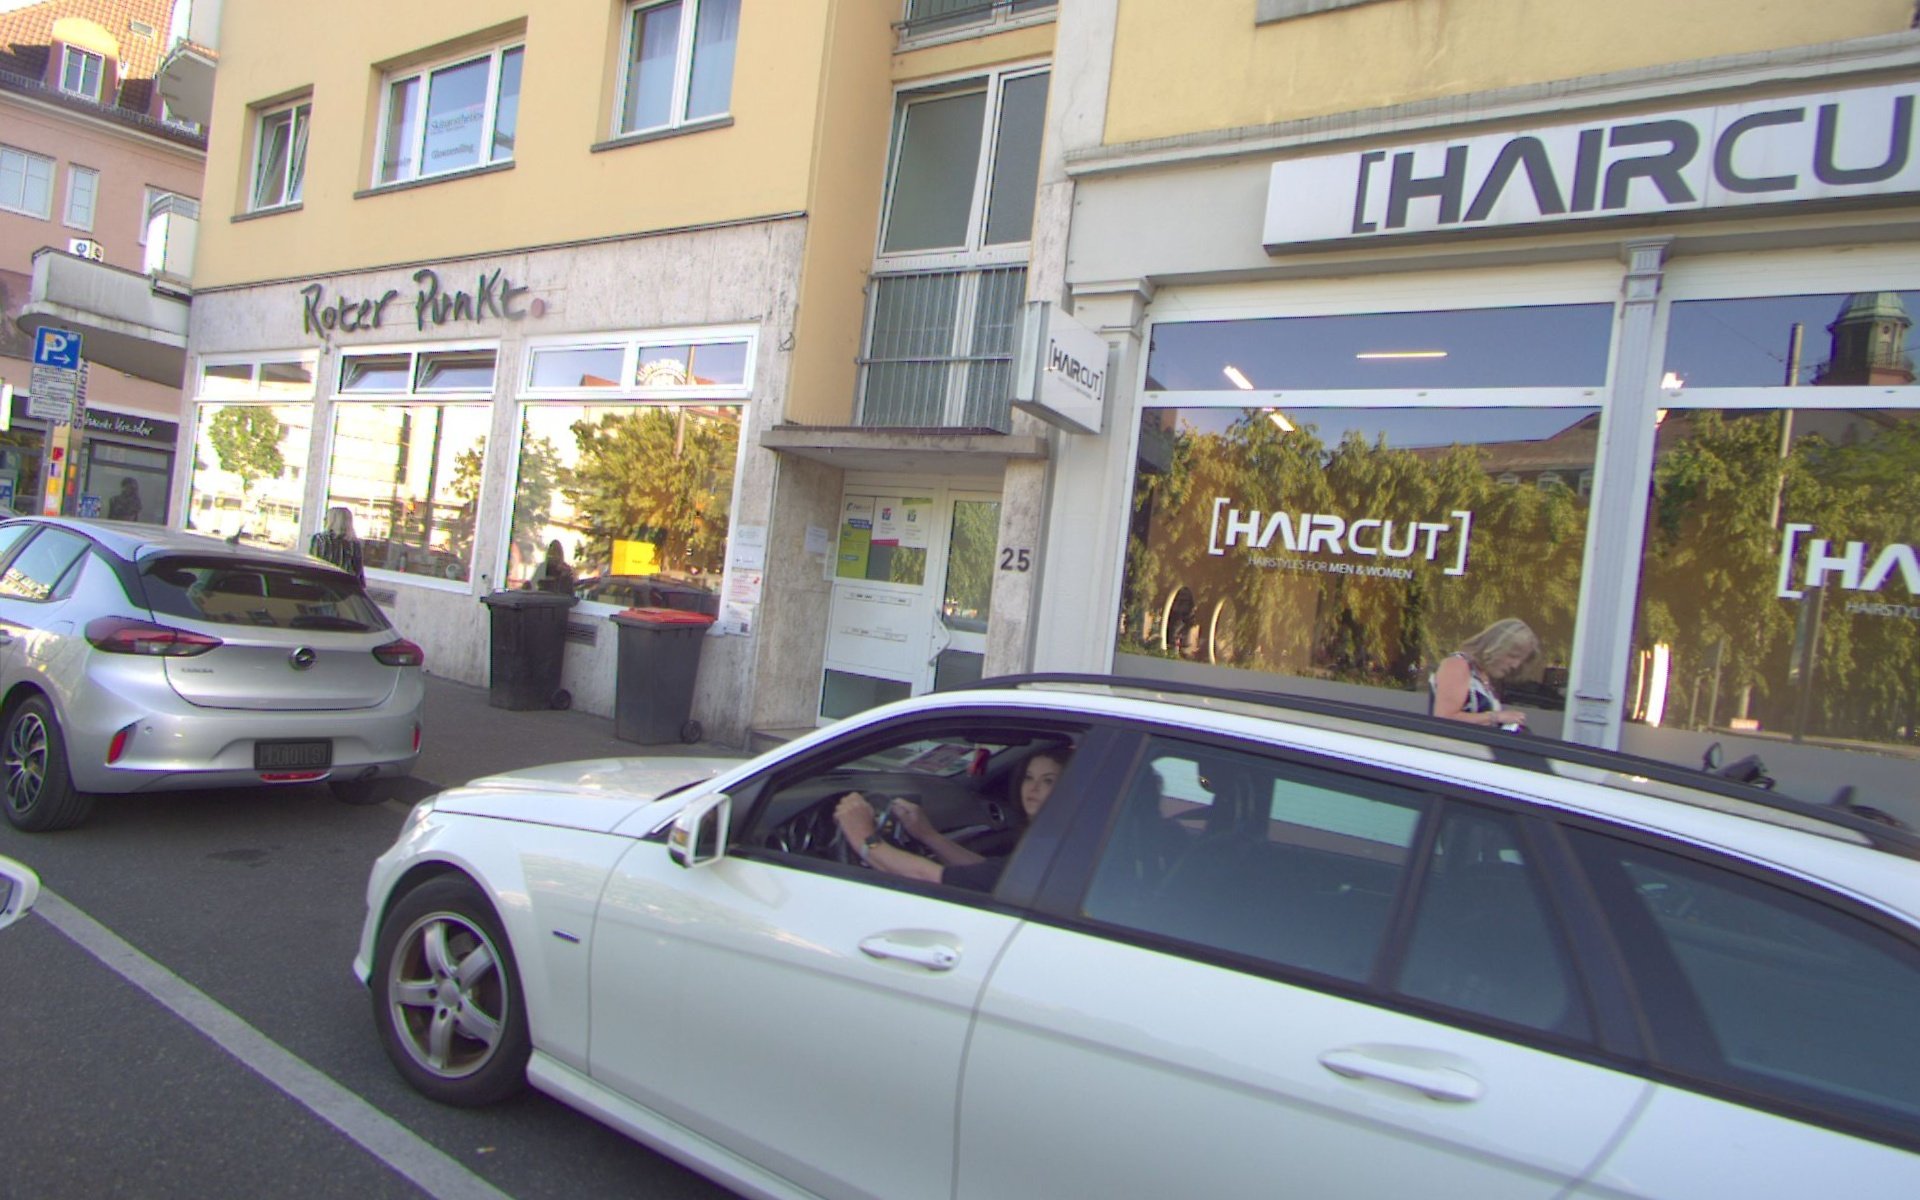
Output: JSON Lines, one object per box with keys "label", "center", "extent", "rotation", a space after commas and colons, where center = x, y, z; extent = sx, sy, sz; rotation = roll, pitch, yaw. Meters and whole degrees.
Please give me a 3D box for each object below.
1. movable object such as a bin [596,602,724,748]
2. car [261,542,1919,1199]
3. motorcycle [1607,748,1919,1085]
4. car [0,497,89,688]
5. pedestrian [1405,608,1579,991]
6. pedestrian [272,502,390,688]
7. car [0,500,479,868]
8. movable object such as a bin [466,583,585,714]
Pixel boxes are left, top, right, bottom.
{"label": "movable object such as a bin", "center": [-2.451, 0.594, 8.234], "extent": [0.609, 1.082, 0.703], "rotation": [7, 3, 31]}
{"label": "car", "center": [0.199, 0.841, 2.776], "extent": [4.389, 1.464, 1.741], "rotation": [7, -1, 31]}
{"label": "motorcycle", "center": [3.911, 1.347, 4.129], "extent": [1.975, 1.105, 0.550], "rotation": [7, 1, 31]}
{"label": "car", "center": [-8.906, -0.273, 8.200], "extent": [3.822, 1.411, 1.624], "rotation": [7, -1, 33]}
{"label": "pedestrian", "center": [2.576, 0.907, 4.878], "extent": [0.523, 1.653, 0.697], "rotation": [7, 1, 29]}
{"label": "pedestrian", "center": [-5.894, -0.046, 9.435], "extent": [0.618, 1.654, 0.661], "rotation": [6, 2, 36]}
{"label": "car", "center": [-4.893, 0.243, 5.822], "extent": [4.007, 1.444, 1.674], "rotation": [7, -1, 29]}
{"label": "movable object such as a bin", "center": [-3.933, 0.430, 9.119], "extent": [0.609, 1.082, 0.703], "rotation": [7, 3, 31]}
